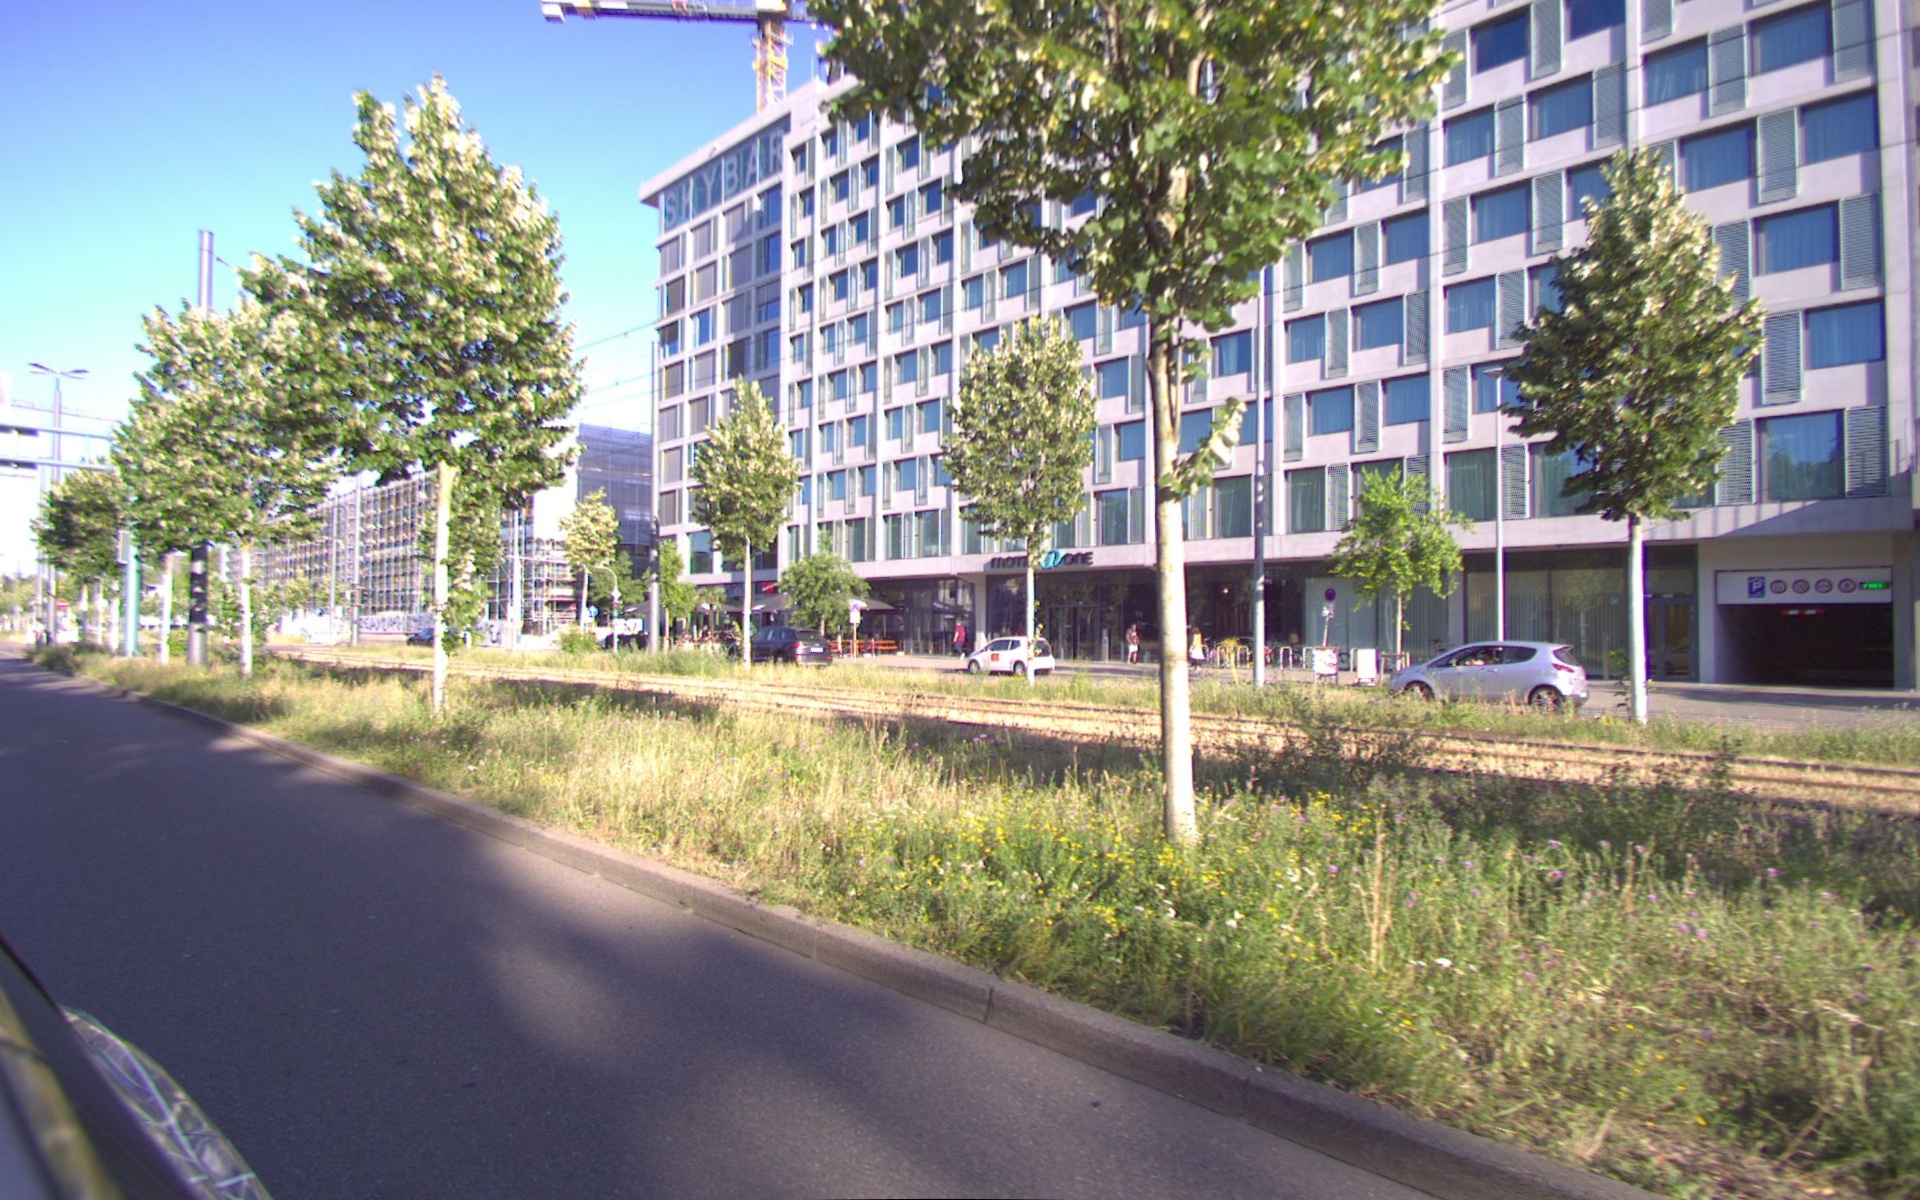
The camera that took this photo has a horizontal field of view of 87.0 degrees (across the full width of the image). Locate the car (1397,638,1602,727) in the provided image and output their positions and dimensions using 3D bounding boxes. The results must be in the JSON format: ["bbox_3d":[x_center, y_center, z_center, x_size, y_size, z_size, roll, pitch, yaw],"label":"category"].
[{"bbox_3d":[11.467,1.675,21.617,3.484,1.603,1.849,-1,0,44],"label":"car"}]

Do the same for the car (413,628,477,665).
[{"bbox_3d":[-26.807,2.387,52.645,3.794,1.765,1.848,-1,0,44],"label":"car"}]

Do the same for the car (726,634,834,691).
[{"bbox_3d":[-6.306,2.121,35.207,3.794,1.765,1.848,-1,0,44],"label":"car"}]

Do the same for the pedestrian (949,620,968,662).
[{"bbox_3d":[-0.082,2.014,49.305,0.726,2.029,0.613,-2,-3,45],"label":"pedestrian"}]

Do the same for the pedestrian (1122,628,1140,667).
[{"bbox_3d":[7.266,2.013,43.039,0.597,1.648,0.472,-2,-3,45],"label":"pedestrian"}]

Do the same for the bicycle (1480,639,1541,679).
[{"bbox_3d":[18.024,1.917,33.146,1.716,1.239,0.390,-1,-2,35],"label":"bicycle"}]

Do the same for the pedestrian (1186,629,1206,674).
[{"bbox_3d":[8.886,1.928,38.104,0.597,1.648,0.472,-2,-3,45],"label":"pedestrian"}]

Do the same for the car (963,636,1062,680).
[{"bbox_3d":[1.987,2.170,38.609,3.391,1.477,1.849,-1,0,44],"label":"car"}]
